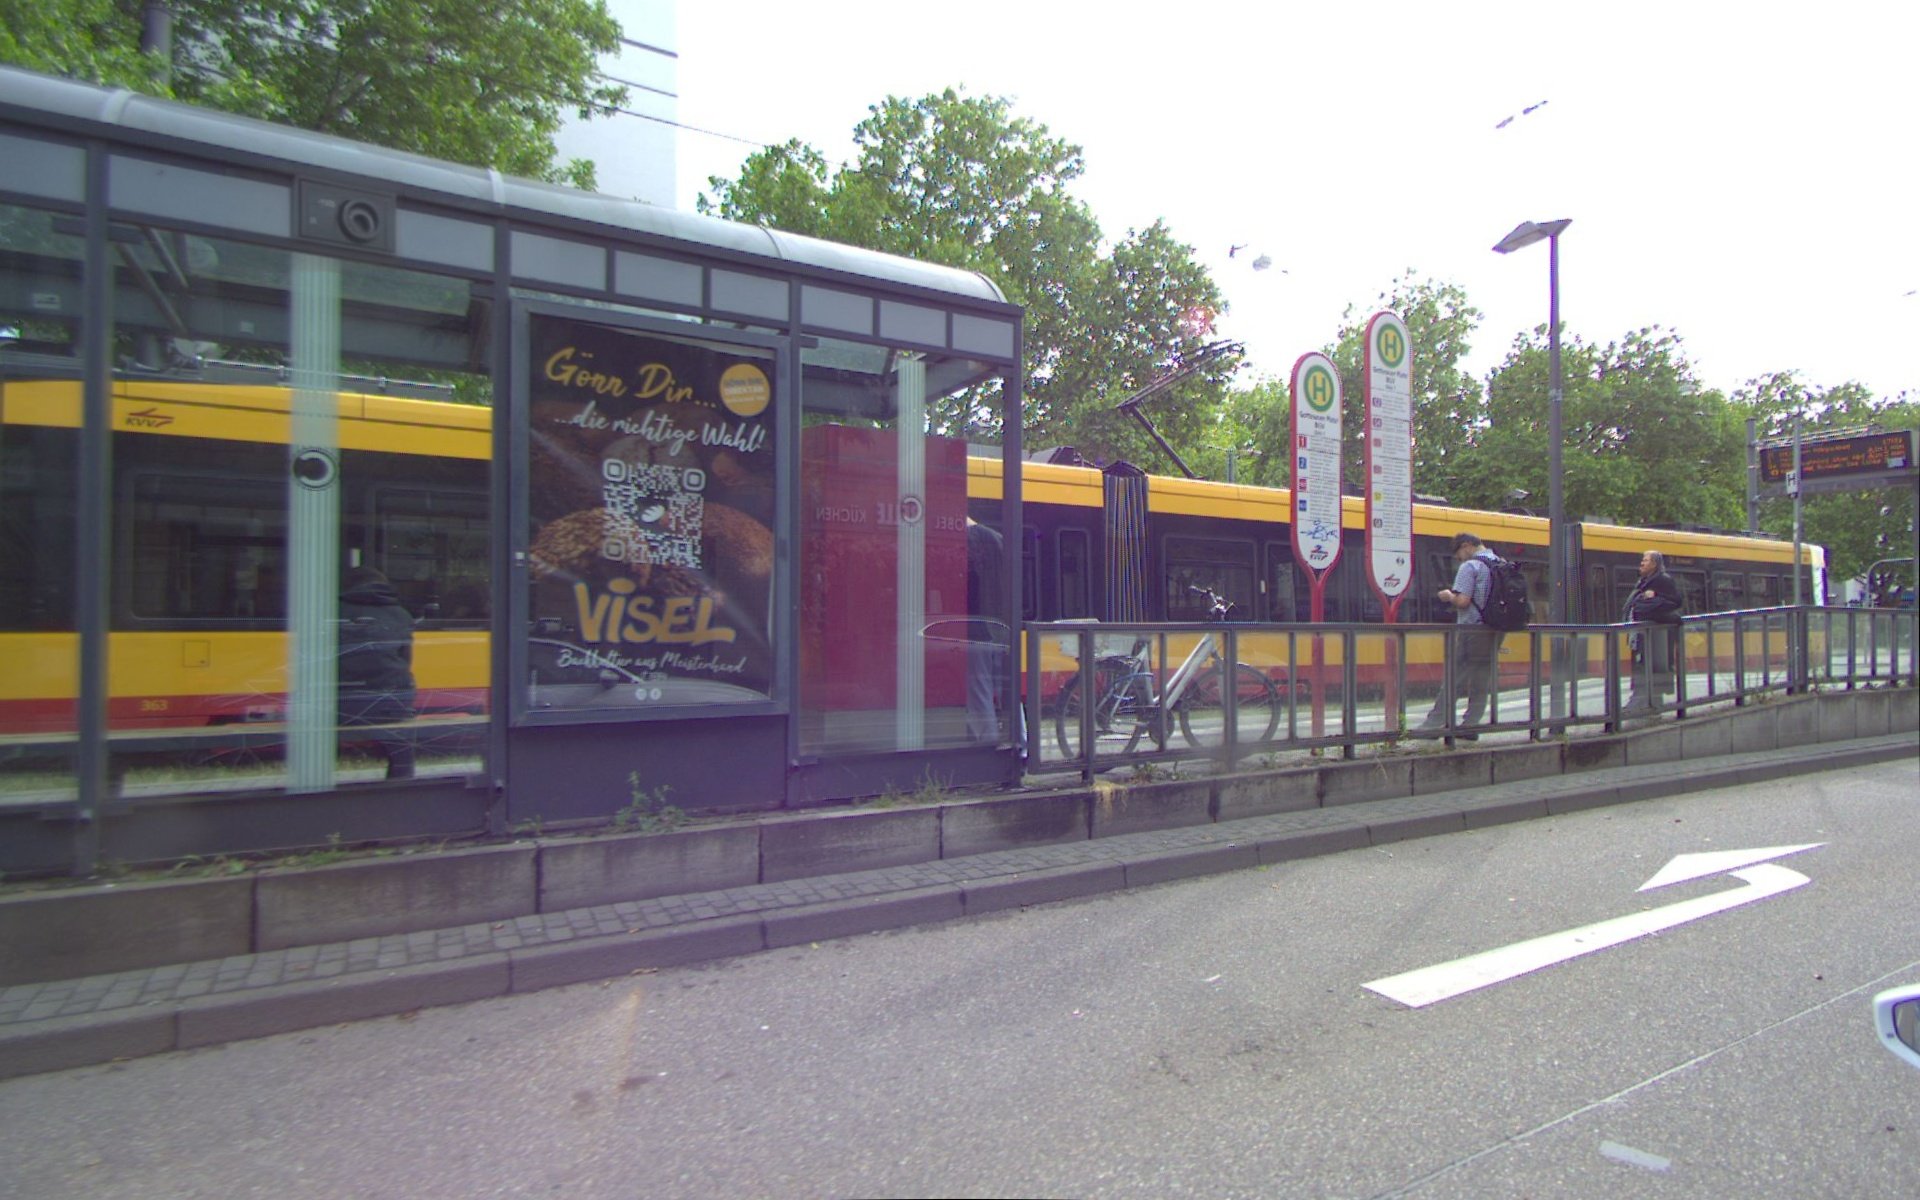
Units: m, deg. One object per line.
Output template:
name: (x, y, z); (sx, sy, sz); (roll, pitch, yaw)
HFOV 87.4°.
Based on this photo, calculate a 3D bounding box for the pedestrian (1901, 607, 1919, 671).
pedestrian: (27.918, 1.132, 29.013); (0.999, 1.837, 0.582); (1, 0, 38)

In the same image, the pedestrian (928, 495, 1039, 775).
pedestrian: (0.141, 0.208, 6.282); (0.466, 1.654, 0.528); (1, 0, -32)

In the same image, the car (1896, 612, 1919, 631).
car: (78.709, 1.780, 82.234); (3.953, 1.550, 1.984); (1, 0, -30)

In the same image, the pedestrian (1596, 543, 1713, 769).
pedestrian: (6.601, 0.502, 9.587); (0.741, 2.040, 0.818); (1, 0, 23)

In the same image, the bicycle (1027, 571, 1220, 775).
bicycle: (1.091, 0.453, 6.612); (1.275, 1.238, 0.417); (1, 0, -31)

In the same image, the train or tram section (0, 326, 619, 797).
train or tram section: (-10.646, -0.344, 7.404); (15.116, 3.579, 3.045); (1, 0, -31)

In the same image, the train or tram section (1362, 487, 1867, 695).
train or tram section: (15.616, -0.034, 22.940); (15.664, 3.636, 3.045); (1, 0, -31)

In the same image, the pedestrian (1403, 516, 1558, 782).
pedestrian: (4.193, 0.385, 8.140); (0.803, 2.040, 0.754); (1, 0, -7)

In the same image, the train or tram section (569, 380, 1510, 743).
train or tram section: (2.383, -0.259, 15.103); (15.116, 3.579, 3.045); (1, 0, -31)
